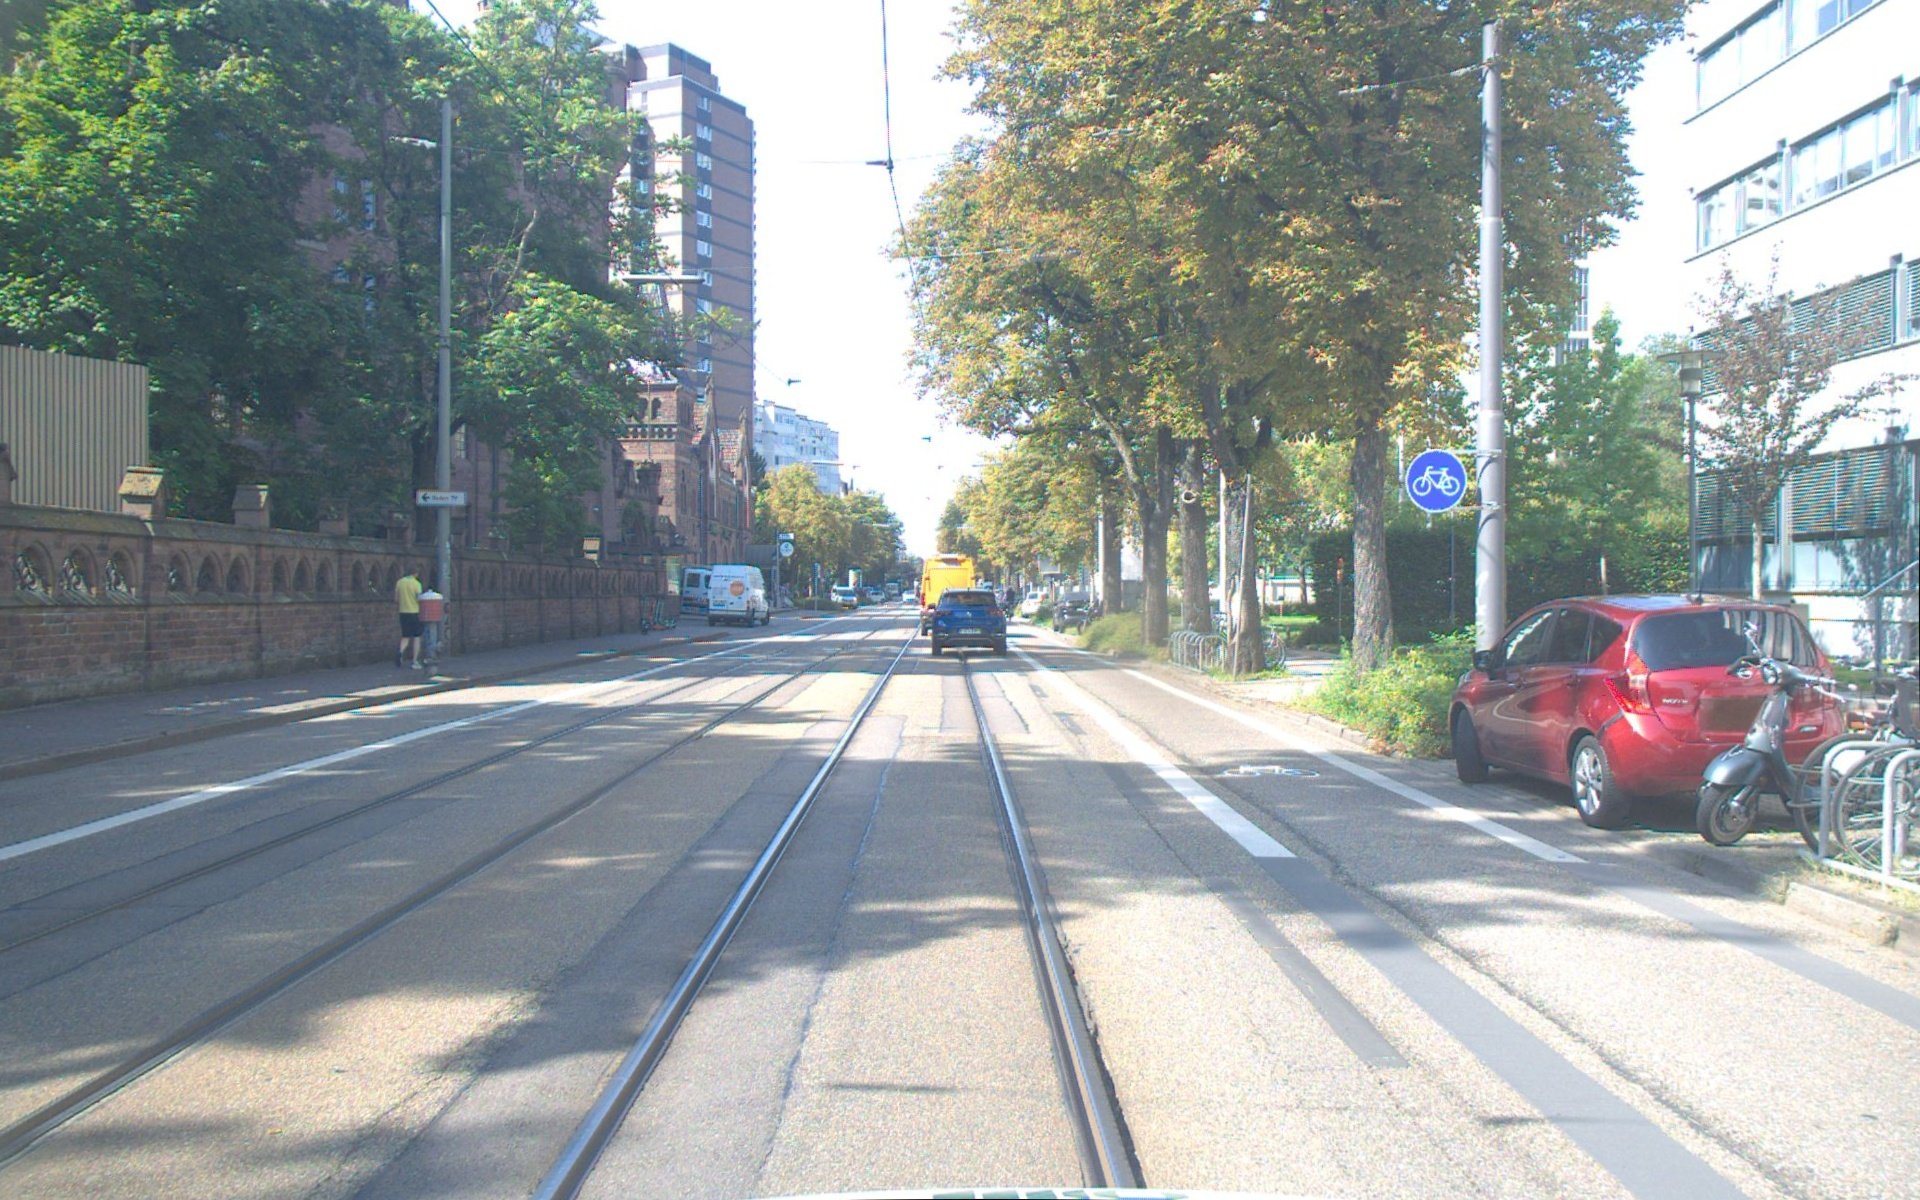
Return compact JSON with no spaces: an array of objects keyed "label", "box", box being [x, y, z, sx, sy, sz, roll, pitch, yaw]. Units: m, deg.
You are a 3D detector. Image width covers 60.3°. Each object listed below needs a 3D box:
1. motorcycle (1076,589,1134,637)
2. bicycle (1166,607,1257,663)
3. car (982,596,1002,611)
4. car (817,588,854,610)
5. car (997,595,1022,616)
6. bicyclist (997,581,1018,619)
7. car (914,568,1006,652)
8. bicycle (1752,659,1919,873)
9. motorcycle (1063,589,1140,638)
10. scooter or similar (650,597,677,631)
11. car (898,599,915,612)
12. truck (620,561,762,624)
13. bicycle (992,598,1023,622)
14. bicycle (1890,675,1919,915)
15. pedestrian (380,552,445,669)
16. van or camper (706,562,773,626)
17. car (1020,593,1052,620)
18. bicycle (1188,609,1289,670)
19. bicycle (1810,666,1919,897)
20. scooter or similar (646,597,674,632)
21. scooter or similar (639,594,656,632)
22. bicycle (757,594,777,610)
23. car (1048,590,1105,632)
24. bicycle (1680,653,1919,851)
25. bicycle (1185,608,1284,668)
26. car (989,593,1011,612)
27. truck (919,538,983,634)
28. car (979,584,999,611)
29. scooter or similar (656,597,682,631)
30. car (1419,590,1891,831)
[{"label":"motorcycle","box":[4.826,0.420,55.398,0.839,1.542,2.436,0,0,-25]},{"label":"bicycle","box":[5.050,0.699,33.228,1.735,1.068,0.540,-1,0,-2]},{"label":"car","box":[3.225,0.355,168.865,1.869,1.456,4.291,0,0,-2]},{"label":"car","box":[-10.707,-0.064,141.824,1.728,1.828,3.962,1,0,-29]},{"label":"car","box":[3.737,0.423,125.160,1.707,1.583,4.216,-1,0,0]},{"label":"bicyclist","box":[2.346,0.001,81.799,1.011,1.844,1.016,0,0,-1]},{"label":"car","box":[-0.018,0.213,40.497,2.092,1.891,5.567,-1,0,0]},{"label":"bicycle","box":[5.324,0.882,9.035,1.735,1.090,0.540,-1,0,-2]},{"label":"motorcycle","box":[4.582,0.423,53.694,2.408,1.542,0.849,0,0,38]},{"label":"scooter or similar","box":[-10.543,0.496,58.747,0.332,1.199,1.177,0,0,24]},{"label":"car","box":[-6.534,0.707,202.169,1.809,1.518,4.867,-2,0,0]},{"label":"truck","box":[-12.698,-0.373,78.260,6.188,2.582,2.132,3,1,4]},{"label":"bicycle","box":[2.310,0.501,81.818,1.373,1.154,3.999,0,0,-1]},{"label":"bicycle","box":[5.263,0.886,7.549,1.735,1.090,0.540,-1,0,-2]},{"label":"pedestrian","box":[-9.732,0.181,29.416,0.846,2.049,0.983,0,0,-3]},{"label":"van or camper","box":[-9.730,-0.248,73.453,2.069,2.722,5.955,0,0,1]},{"label":"car","box":[4.363,0.354,95.237,1.625,1.507,4.216,-1,0,0]},{"label":"bicycle","box":[5.058,0.708,30.071,1.735,1.068,0.540,-1,0,-2]},{"label":"bicycle","box":[5.304,0.884,8.361,1.735,1.090,0.540,-1,0,-2]},{"label":"scooter or similar","box":[-10.444,0.500,57.576,0.332,1.199,1.177,0,0,24]},{"label":"scooter or similar","box":[-10.077,0.423,53.280,0.413,1.199,1.311,0,0,-16]},{"label":"bicycle","box":[-14.149,0.130,121.196,1.423,1.112,0.399,4,-1,-5]},{"label":"car","box":[4.504,0.428,64.358,1.720,1.542,4.607,-1,0,-2]},{"label":"bicycle","box":[5.255,0.879,9.809,1.735,1.090,0.540,-1,0,-2]},{"label":"bicycle","box":[5.094,0.706,30.749,1.735,1.068,0.540,-1,0,-2]},{"label":"car","box":[3.553,0.234,148.350,1.705,1.697,4.360,0,0,-2]},{"label":"truck","box":[-0.318,-0.467,57.891,2.092,3.179,6.084,-1,0,0]},{"label":"car","box":[3.117,-0.283,179.458,1.953,2.804,5.759,0,0,-2]},{"label":"scooter or similar","box":[-10.539,0.493,59.881,0.332,1.199,1.177,0,0,24]},{"label":"car","box":[4.951,0.680,12.499,1.720,1.487,4.274,-1,0,-1]}]
